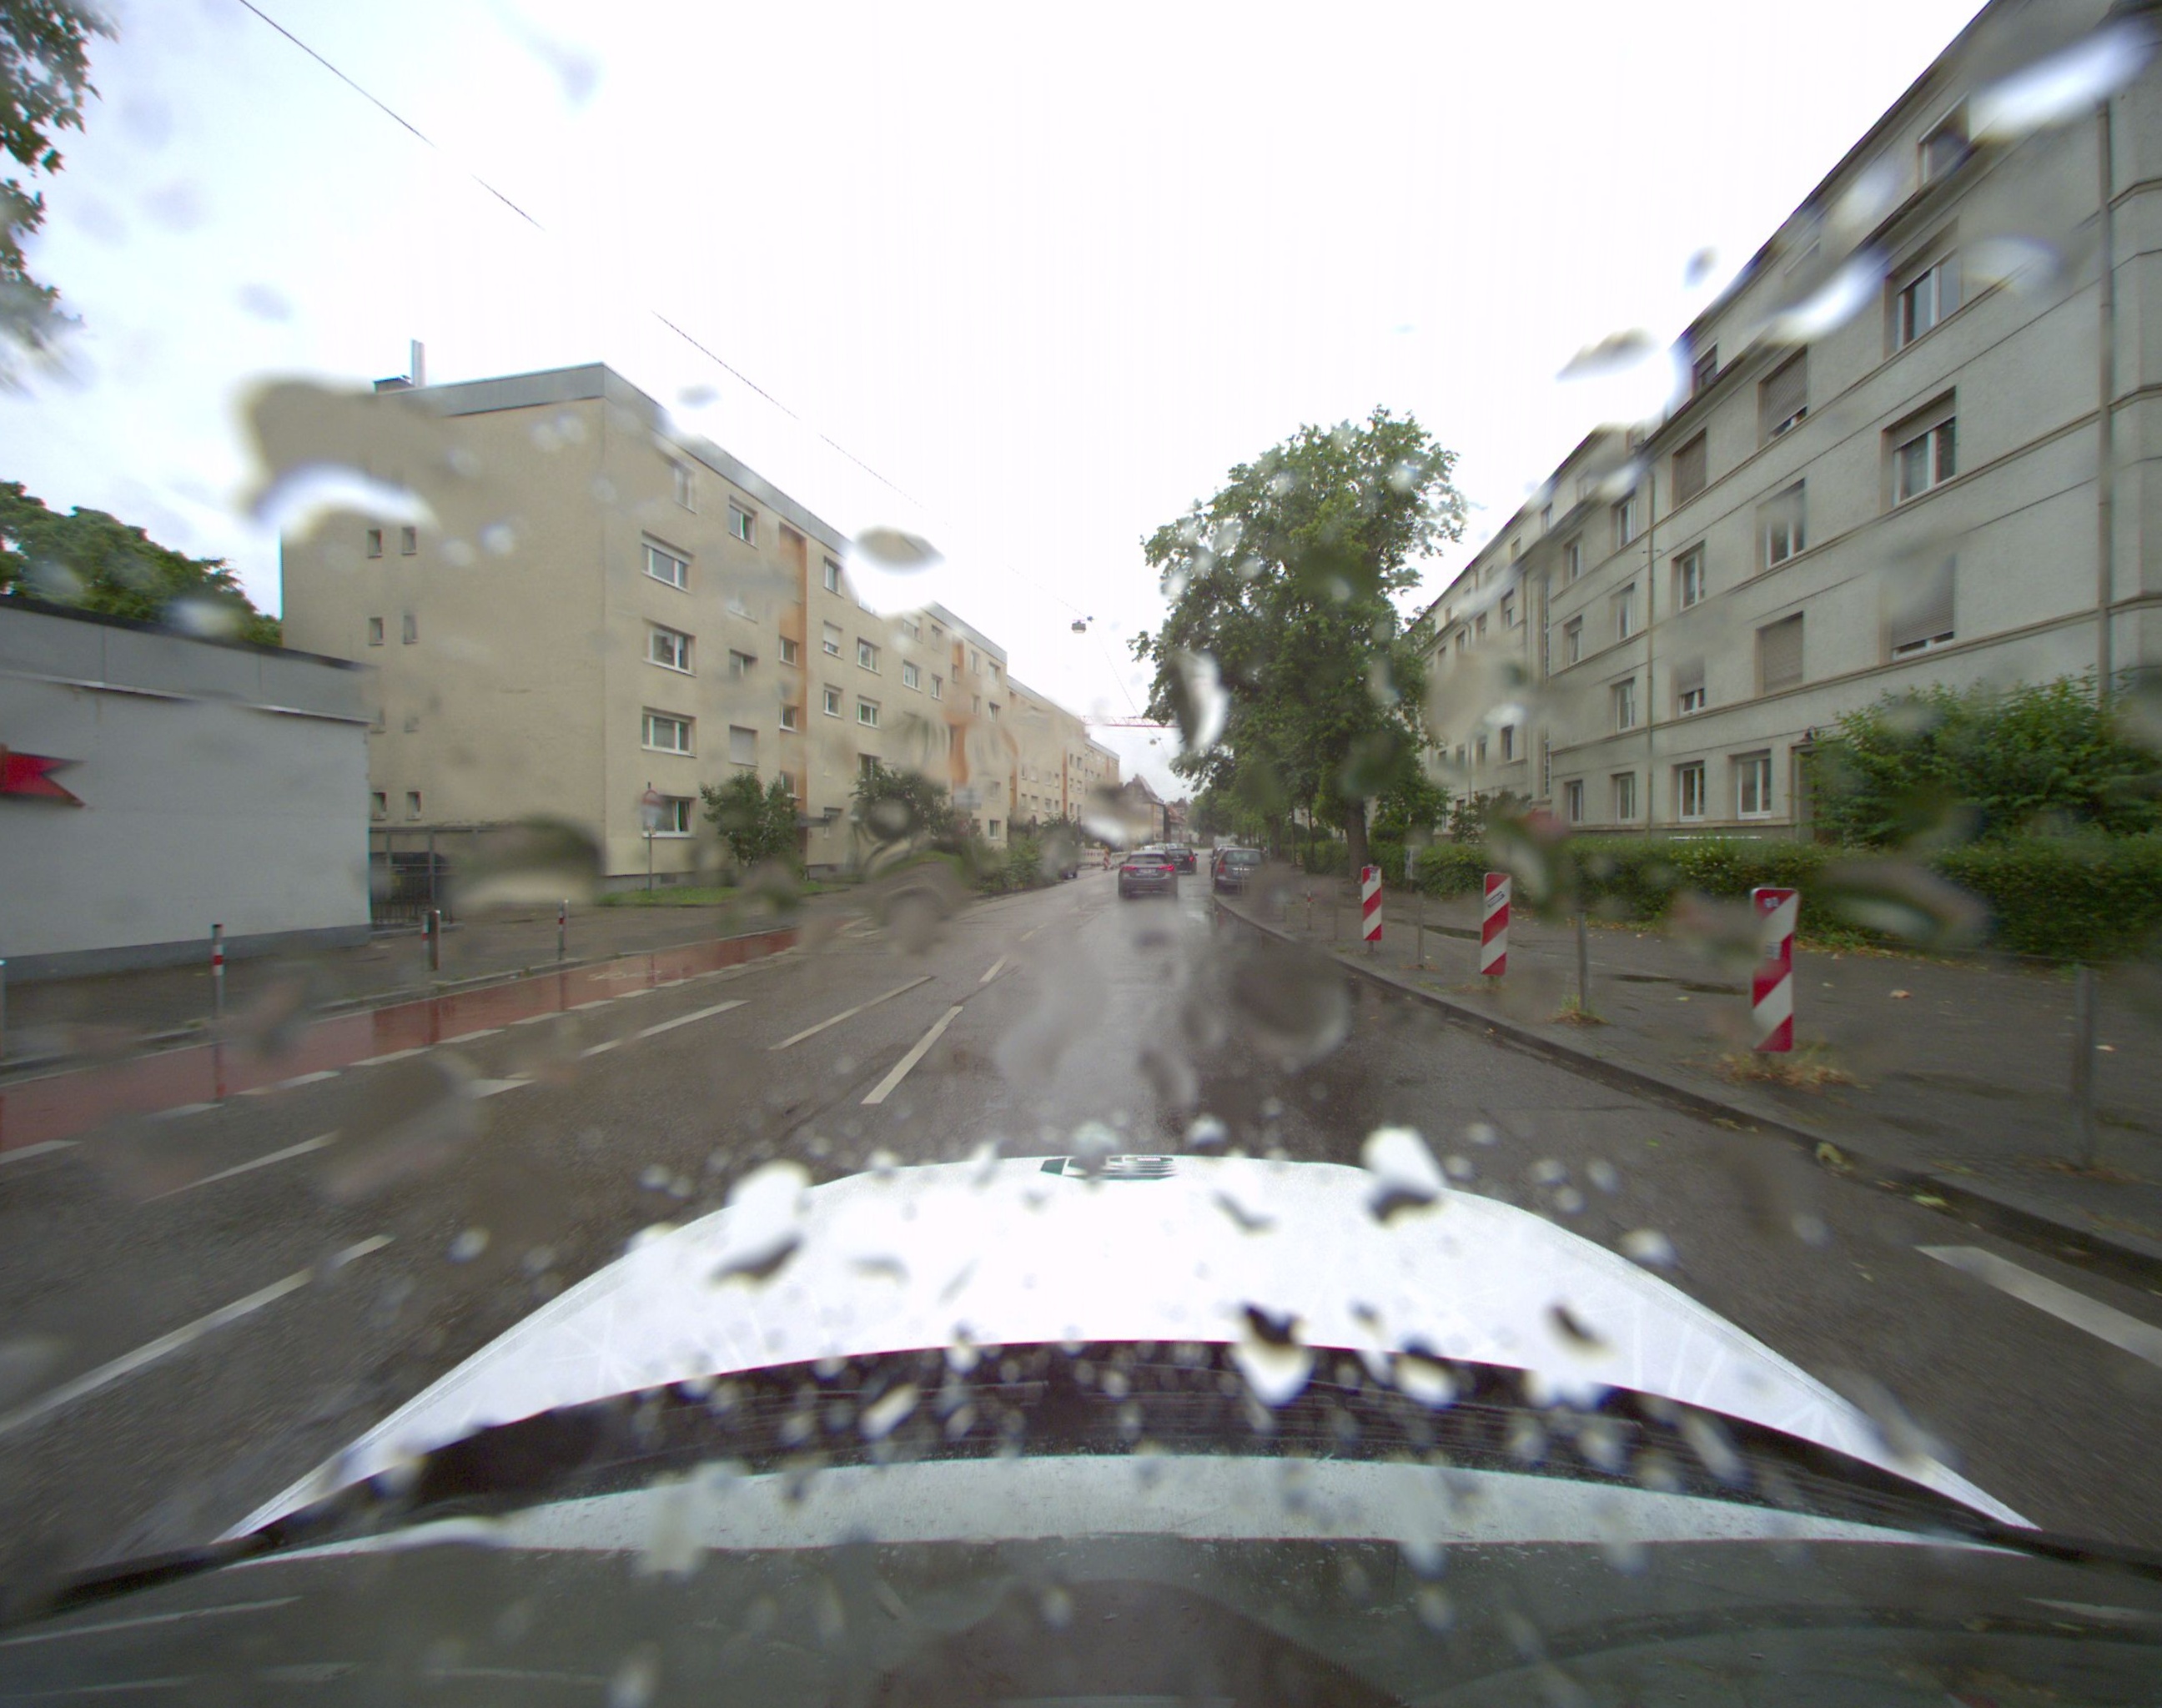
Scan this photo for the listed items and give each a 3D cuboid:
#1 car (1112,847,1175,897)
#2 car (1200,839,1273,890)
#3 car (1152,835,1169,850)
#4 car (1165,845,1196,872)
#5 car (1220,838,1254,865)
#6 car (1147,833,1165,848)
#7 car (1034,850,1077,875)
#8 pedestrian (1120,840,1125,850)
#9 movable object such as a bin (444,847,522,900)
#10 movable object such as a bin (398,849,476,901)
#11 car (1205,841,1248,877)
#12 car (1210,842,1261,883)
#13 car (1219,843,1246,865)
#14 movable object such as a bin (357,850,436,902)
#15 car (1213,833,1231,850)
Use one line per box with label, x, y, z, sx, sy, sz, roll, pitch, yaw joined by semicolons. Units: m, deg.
car;1.987;0.508;25.467;1.782;1.372;3.512;1;1;5
car;5.080;0.300;27.085;1.984;1.574;4.005;0;1;4
car;10.681;-1.540;109.127;1.878;1.836;4.011;0;1;9
car;5.405;0.225;44.604;1.599;1.372;4.007;-1;1;5
car;9.306;-0.160;48.671;1.878;1.574;4.011;0;1;9
car;9.455;-1.682;102.657;1.878;1.836;4.011;0;1;9
car;-1.297;0.409;42.667;1.579;1.206;3.470;0;1;10
pedestrian;5.506;-1.237;108.247;0.525;1.357;0.587;1;0;13
movable object such as a bin;-17.336;0.550;23.639;1.321;1.475;1.205;0;0;10
movable object such as a bin;-18.870;0.599;23.889;1.321;1.475;1.205;0;0;10
car;6.833;0.203;38.481;1.878;1.574;4.011;0;1;9
car;6.185;0.298;32.822;1.878;1.574;4.011;0;1;9
car;11.403;-0.037;61.501;1.878;1.574;4.011;0;1;9
movable object such as a bin;-20.400;0.637;24.299;1.321;1.475;1.205;0;0;10
car;16.298;-1.447;94.445;2.034;1.836;4.805;0;1;9
